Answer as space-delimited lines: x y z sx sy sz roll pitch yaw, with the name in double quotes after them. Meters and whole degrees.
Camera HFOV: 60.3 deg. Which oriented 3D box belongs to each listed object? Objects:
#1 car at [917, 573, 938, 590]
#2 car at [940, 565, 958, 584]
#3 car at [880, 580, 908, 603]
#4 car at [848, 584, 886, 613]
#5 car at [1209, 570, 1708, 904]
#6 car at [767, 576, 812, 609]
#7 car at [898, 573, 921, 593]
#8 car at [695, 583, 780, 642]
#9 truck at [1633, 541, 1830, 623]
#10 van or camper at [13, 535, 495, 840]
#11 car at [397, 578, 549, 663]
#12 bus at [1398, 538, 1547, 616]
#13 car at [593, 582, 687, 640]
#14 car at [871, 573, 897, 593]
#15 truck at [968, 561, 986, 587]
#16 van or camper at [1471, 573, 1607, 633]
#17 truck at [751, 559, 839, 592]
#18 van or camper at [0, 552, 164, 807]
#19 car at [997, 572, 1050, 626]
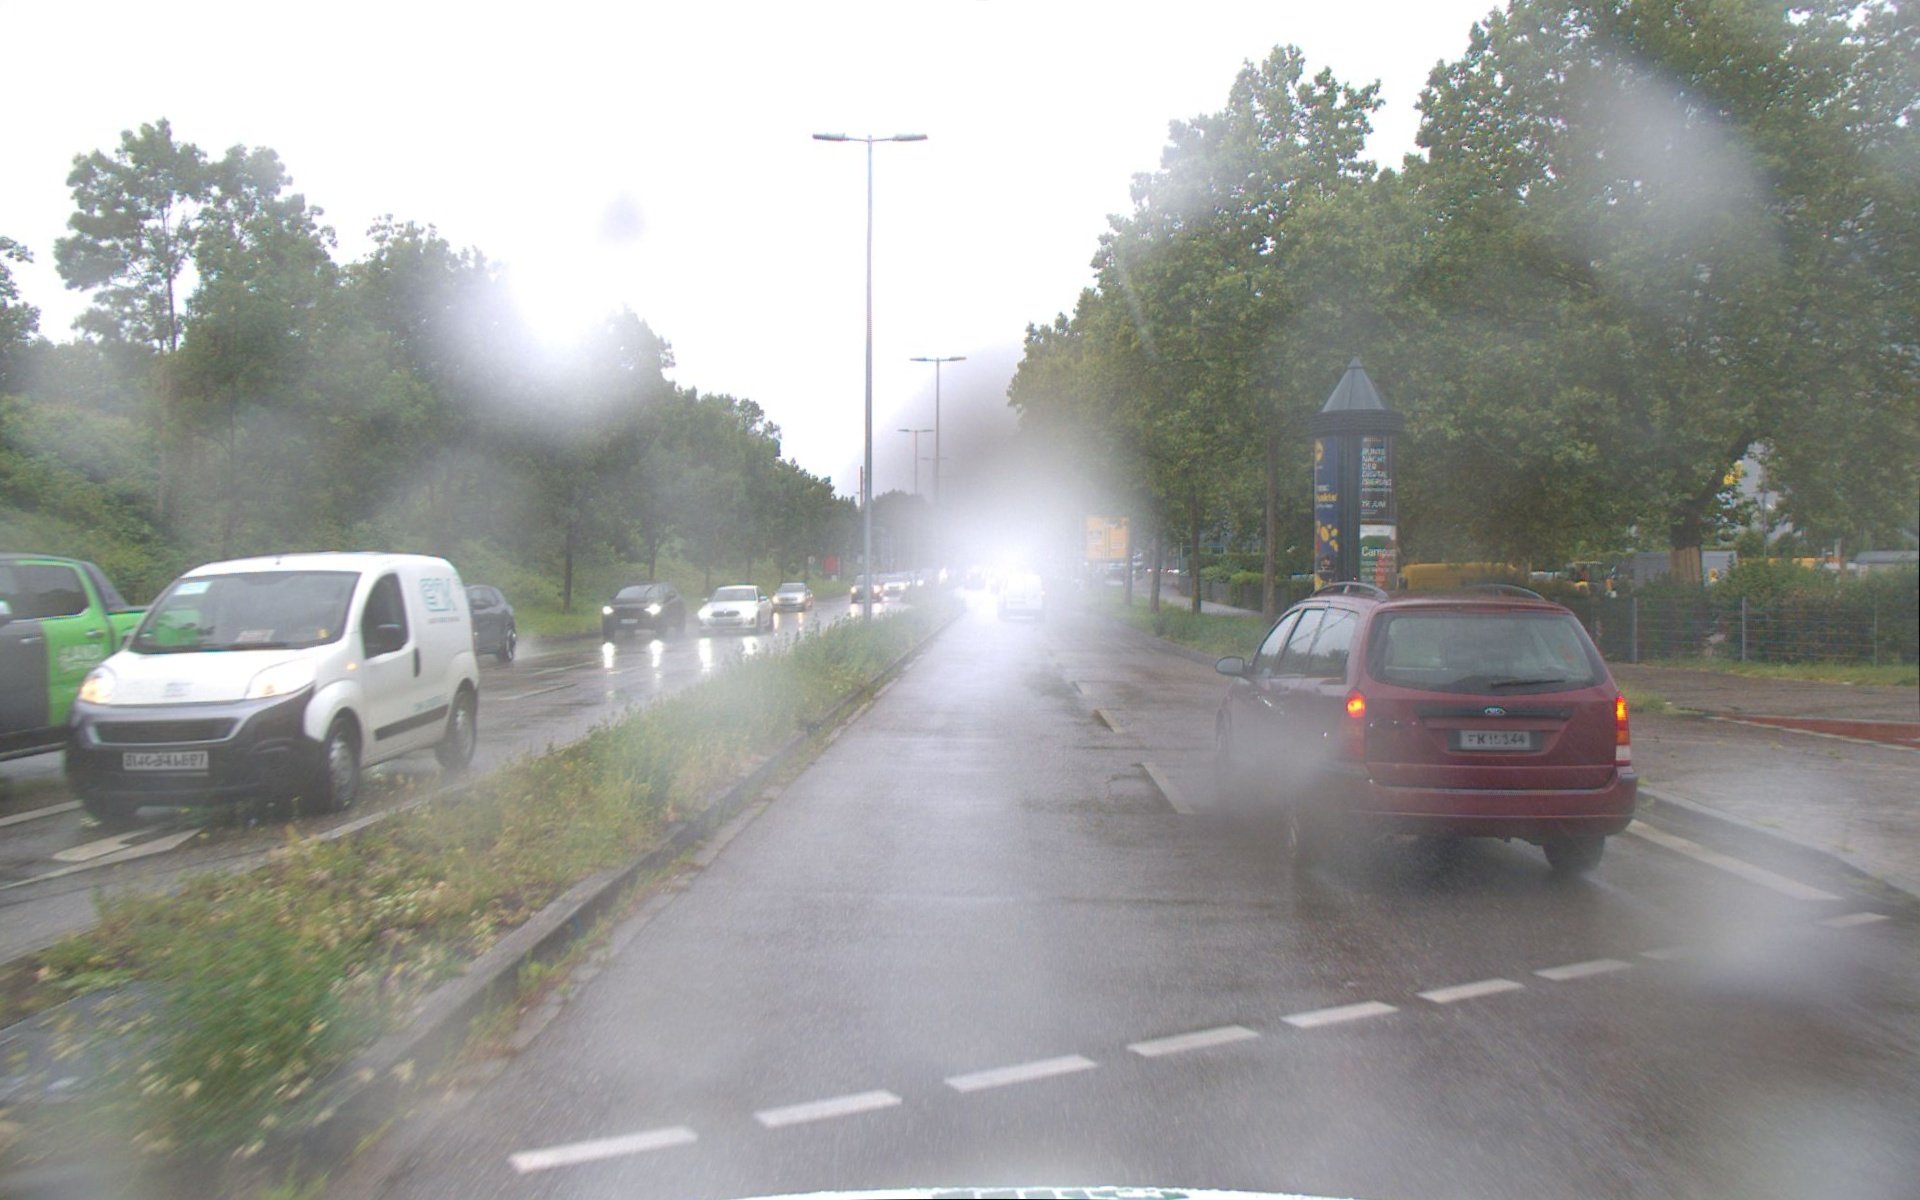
-3.298 -1.904 170.282 1.869 1.601 4.710 -3 1 2 "car"
-1.404 -3.180 205.680 1.788 1.598 4.366 9 8 1 "car"
-4.869 -0.637 123.043 1.859 1.641 4.112 -1 1 1 "car"
-5.746 -0.114 102.434 1.859 1.641 4.113 -2 1 3 "car"
2.703 0.629 10.005 1.801 1.563 4.112 1 1 1 "car"
-8.873 -0.430 86.468 1.859 1.641 4.478 -1 1 0 "car"
-4.433 -1.510 145.361 1.871 1.601 4.706 -2 1 -3 "car"
-6.809 0.341 51.033 1.859 1.641 4.712 -2 1 1 "car"
31.530 -0.652 67.404 9.389 3.085 3.044 1 0 -35 "truck"
-4.818 0.496 11.977 1.693 1.772 4.000 -2 1 0 "van or camper"
-10.121 0.366 34.732 1.859 1.641 4.406 -1 1 0 "car"
18.172 -0.818 58.851 4.692 2.693 2.001 1 1 2 "bus"
-9.932 0.313 51.672 1.995 1.689 4.679 -1 1 0 "car"
-6.819 -1.511 148.566 1.952 1.717 4.710 -1 1 2 "car"
1.640 -2.589 162.719 1.720 2.509 4.000 1 1 0 "truck"
19.427 0.085 55.598 3.907 1.940 1.801 1 1 -3 "van or camper"
-18.814 -2.773 189.420 10.025 3.512 2.625 1 -1 -36 "truck"
-7.684 0.582 12.039 1.666 1.816 4.221 -2 1 0 "van or camper"
2.493 -0.036 65.688 1.953 2.049 4.000 1 0 0 "car"
